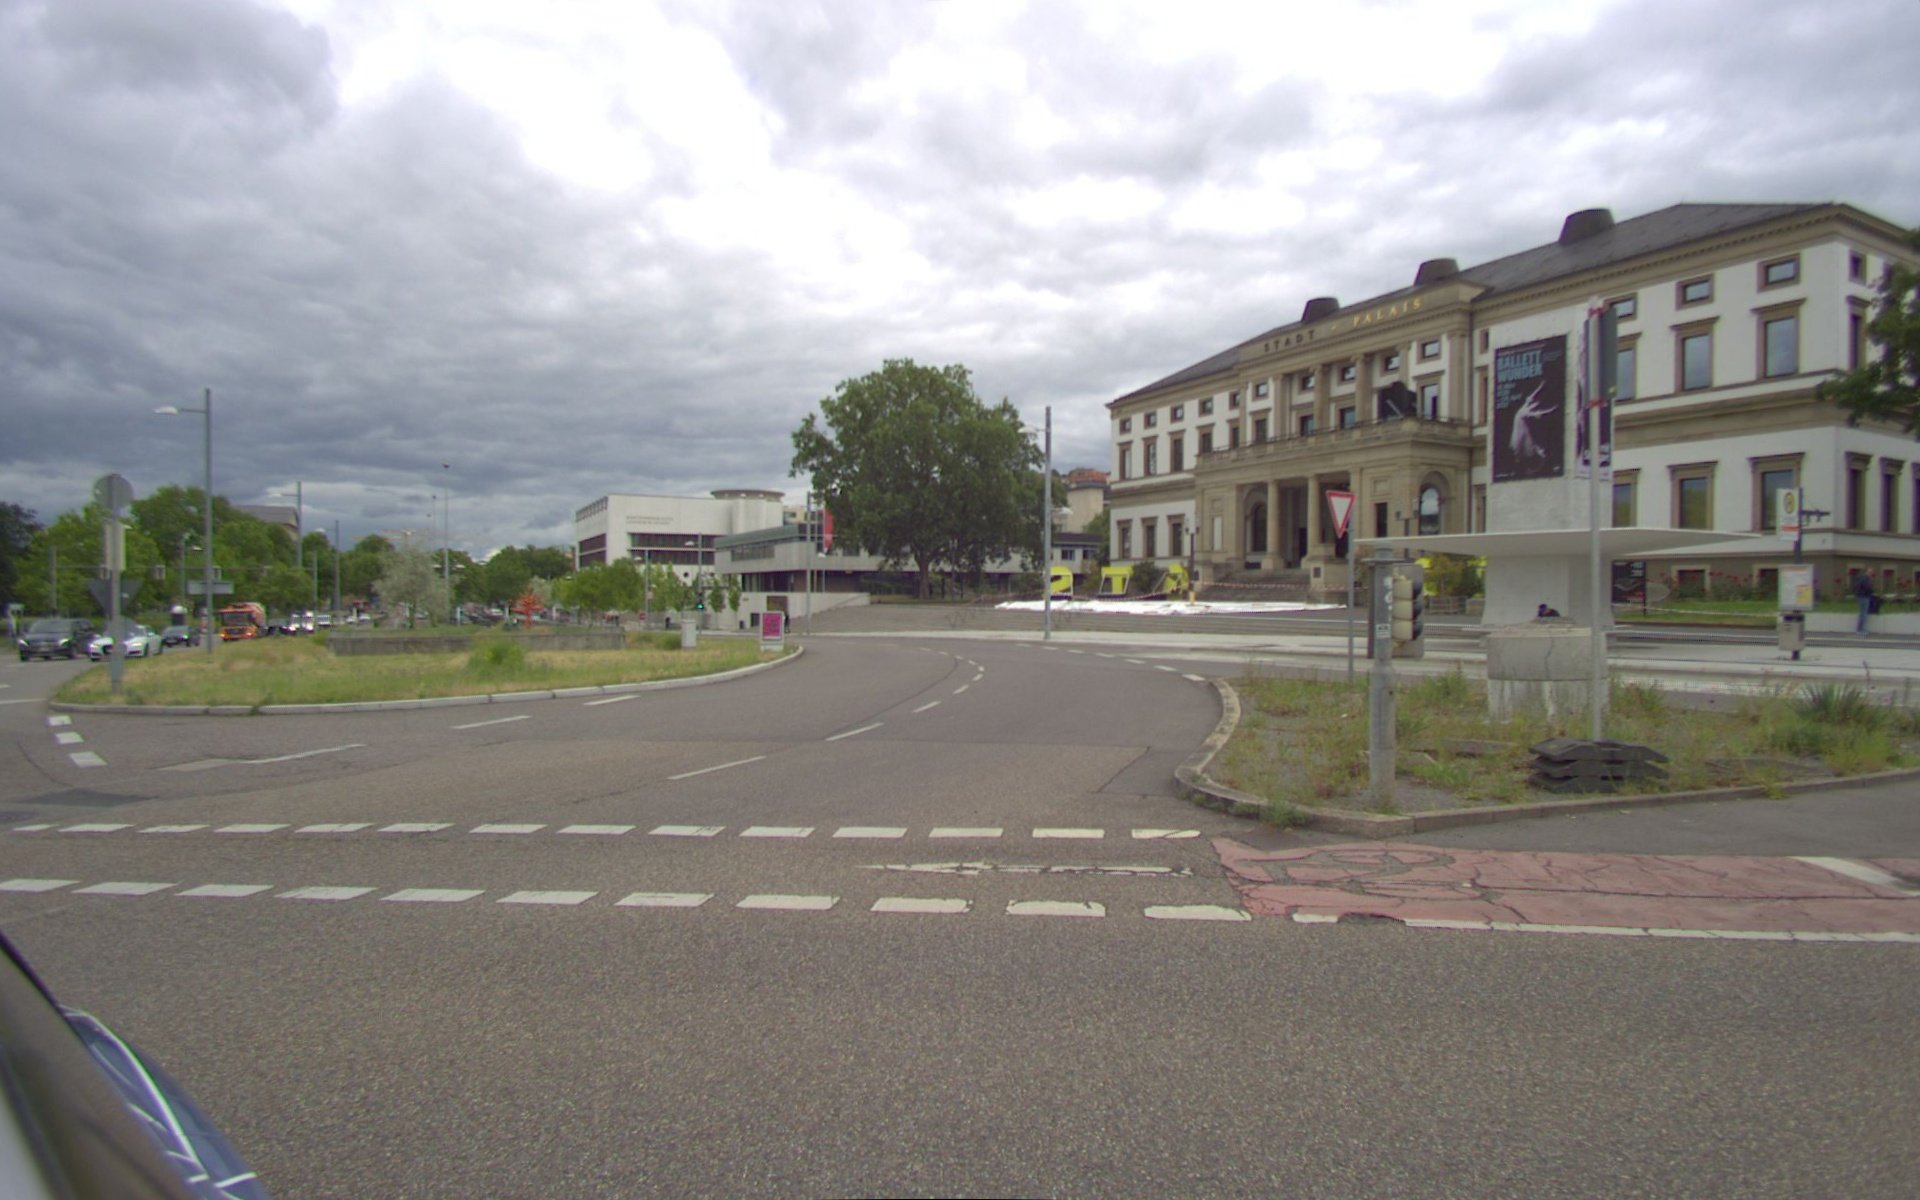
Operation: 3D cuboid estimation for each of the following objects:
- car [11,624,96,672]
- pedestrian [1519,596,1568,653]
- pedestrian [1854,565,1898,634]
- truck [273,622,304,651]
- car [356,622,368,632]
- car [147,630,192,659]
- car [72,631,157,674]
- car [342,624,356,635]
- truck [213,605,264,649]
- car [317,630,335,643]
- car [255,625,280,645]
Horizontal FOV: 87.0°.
[{"bbox_3d":[-41.426,2.130,46.381,1.828,2.003,4.656,0,-1,-28],"label":"car"},{"bbox_3d":[14.358,0.584,24.910,0.694,1.363,0.763,-1,0,-22],"label":"pedestrian"},{"bbox_3d":[24.598,-0.010,27.175,0.594,1.827,0.597,-1,0,-14],"label":"pedestrian"},{"bbox_3d":[-69.108,3.669,104.240,1.923,2.805,5.807,-1,0,-27],"label":"truck"},{"bbox_3d":[-121.315,5.401,205.256,1.753,1.859,3.811,-1,0,-25],"label":"car"},{"bbox_3d":[-53.052,2.978,67.982,1.829,1.752,3.751,-1,0,-30],"label":"car"},{"bbox_3d":[-35.760,2.190,42.911,2.061,1.621,4.425,0,-1,-30],"label":"car"},{"bbox_3d":[-111.551,5.391,184.761,1.753,1.859,3.811,-1,0,-25],"label":"car"},{"bbox_3d":[-64.527,2.359,90.681,2.682,3.643,9.207,-1,0,-29],"label":"truck"},{"bbox_3d":[-94.071,5.406,150.102,1.753,1.859,3.811,-1,0,-25],"label":"car"},{"bbox_3d":[-73.062,3.674,106.824,1.753,1.922,3.811,-1,-1,-29],"label":"car"}]
